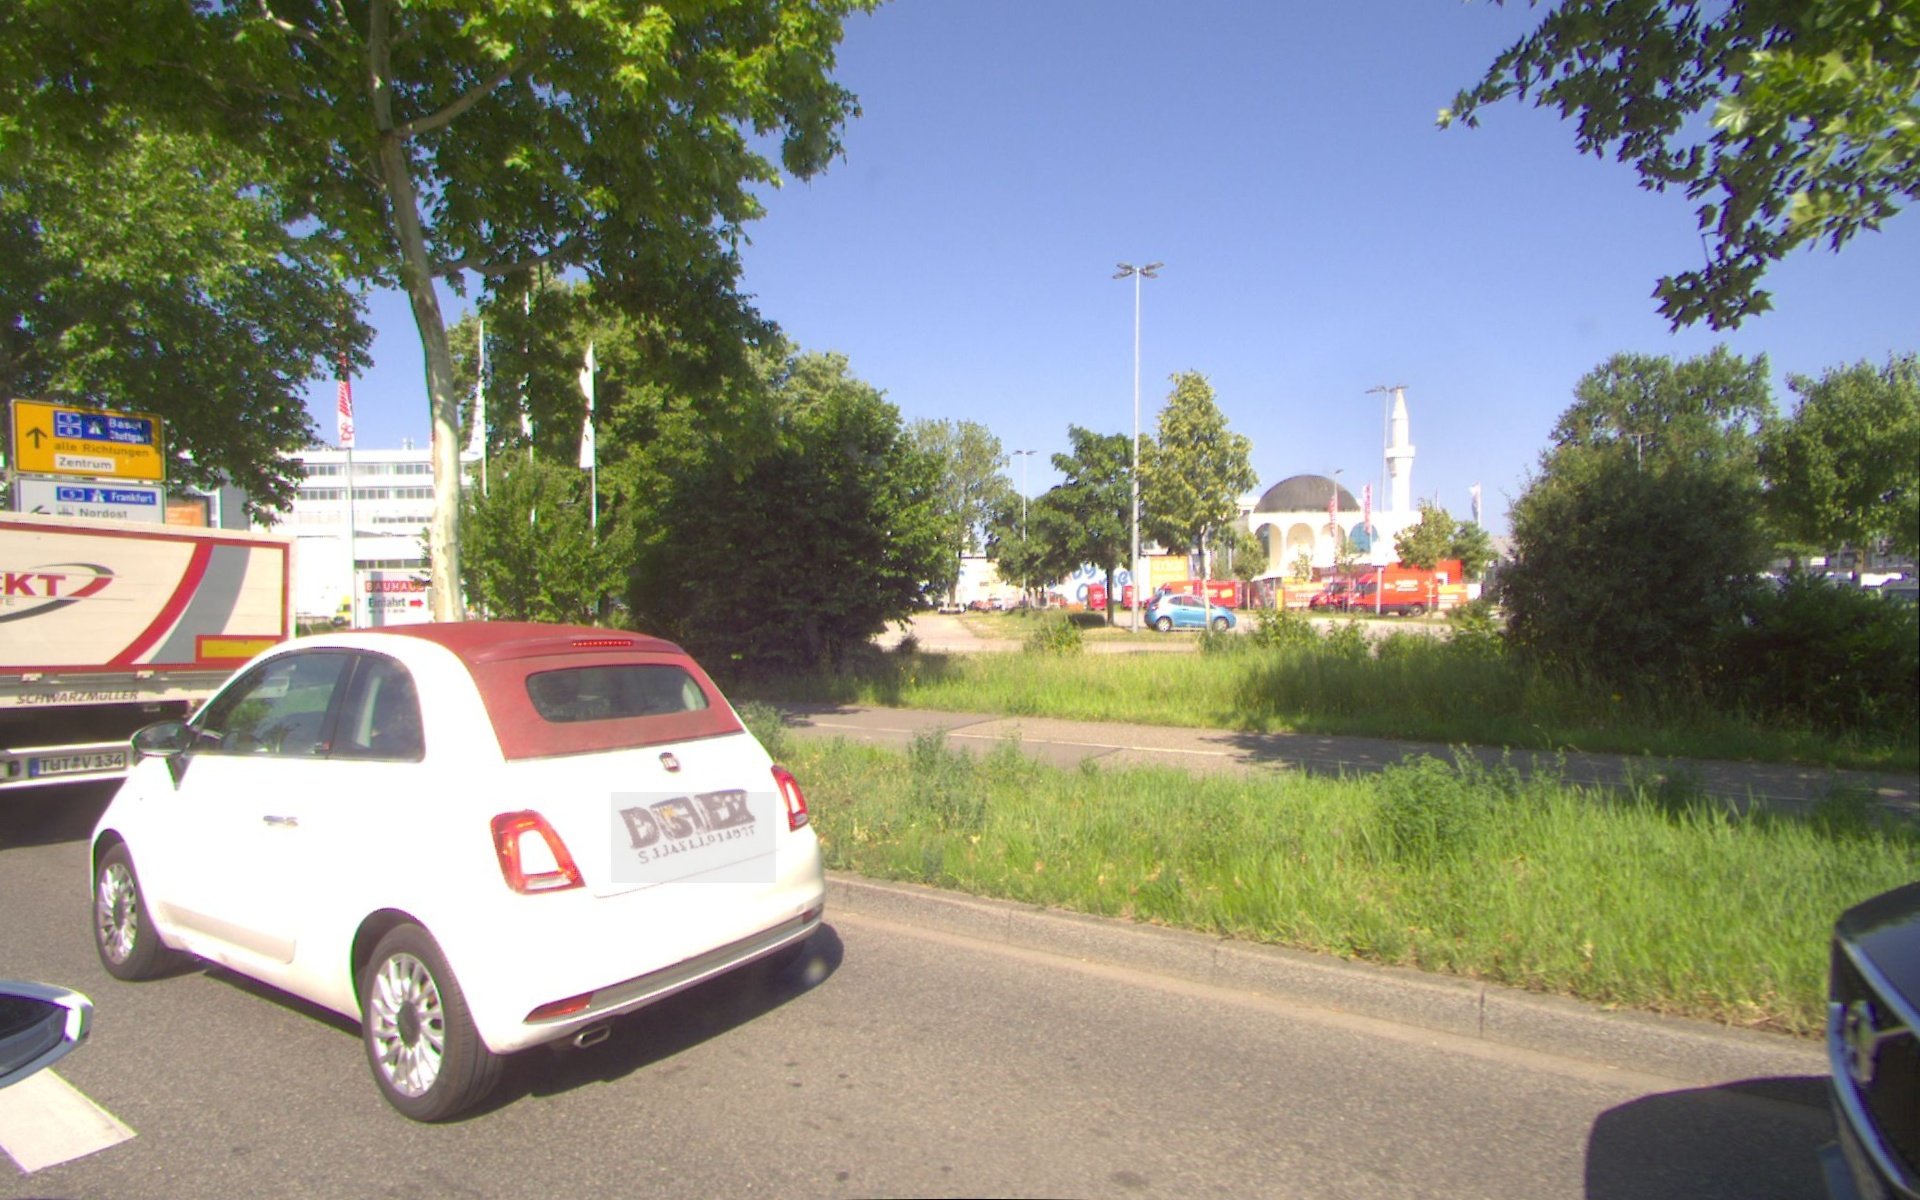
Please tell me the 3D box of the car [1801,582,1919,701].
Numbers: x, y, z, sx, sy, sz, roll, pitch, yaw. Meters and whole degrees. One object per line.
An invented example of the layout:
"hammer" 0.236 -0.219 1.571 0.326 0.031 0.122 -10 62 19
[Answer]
"car" 14.866 0.628 15.880 1.694 1.718 3.544 -1 -1 30

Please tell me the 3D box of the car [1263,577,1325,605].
"car" 24.816 -0.649 74.470 3.922 2.040 2.000 0 -1 2

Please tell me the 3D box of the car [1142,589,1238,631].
"car" 9.083 0.406 39.701 3.387 1.591 1.745 0 -1 -2

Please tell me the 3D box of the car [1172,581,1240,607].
"car" 18.993 -0.435 77.525 4.824 1.906 1.770 0 -1 2

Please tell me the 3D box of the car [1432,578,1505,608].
"car" 37.099 -0.500 73.118 4.304 2.040 2.000 0 -1 -3

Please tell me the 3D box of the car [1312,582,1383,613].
"car" 25.000 -0.148 64.747 3.924 1.884 1.999 -1 -1 11

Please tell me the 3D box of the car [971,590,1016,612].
"car" 3.065 0.094 92.215 3.923 2.040 2.000 0 -1 -6

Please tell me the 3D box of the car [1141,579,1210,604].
"car" 17.884 -0.711 83.196 5.188 2.040 2.000 0 -1 -4

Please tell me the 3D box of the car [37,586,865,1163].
"car" -2.263 0.740 4.206 3.472 1.455 1.657 -1 -1 34

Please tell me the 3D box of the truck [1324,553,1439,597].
"truck" 32.527 -1.891 77.325 8.068 3.290 2.000 0 -1 -2

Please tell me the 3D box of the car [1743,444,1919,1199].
"car" 3.415 0.594 0.542 4.500 1.643 1.916 -1 -1 32

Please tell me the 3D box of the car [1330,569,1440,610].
"car" 25.912 -0.604 61.186 5.822 2.371 2.115 0 -1 1

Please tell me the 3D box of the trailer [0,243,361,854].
"trailer" -10.635 -0.196 10.073 12.069 3.789 3.010 -1 -1 33
